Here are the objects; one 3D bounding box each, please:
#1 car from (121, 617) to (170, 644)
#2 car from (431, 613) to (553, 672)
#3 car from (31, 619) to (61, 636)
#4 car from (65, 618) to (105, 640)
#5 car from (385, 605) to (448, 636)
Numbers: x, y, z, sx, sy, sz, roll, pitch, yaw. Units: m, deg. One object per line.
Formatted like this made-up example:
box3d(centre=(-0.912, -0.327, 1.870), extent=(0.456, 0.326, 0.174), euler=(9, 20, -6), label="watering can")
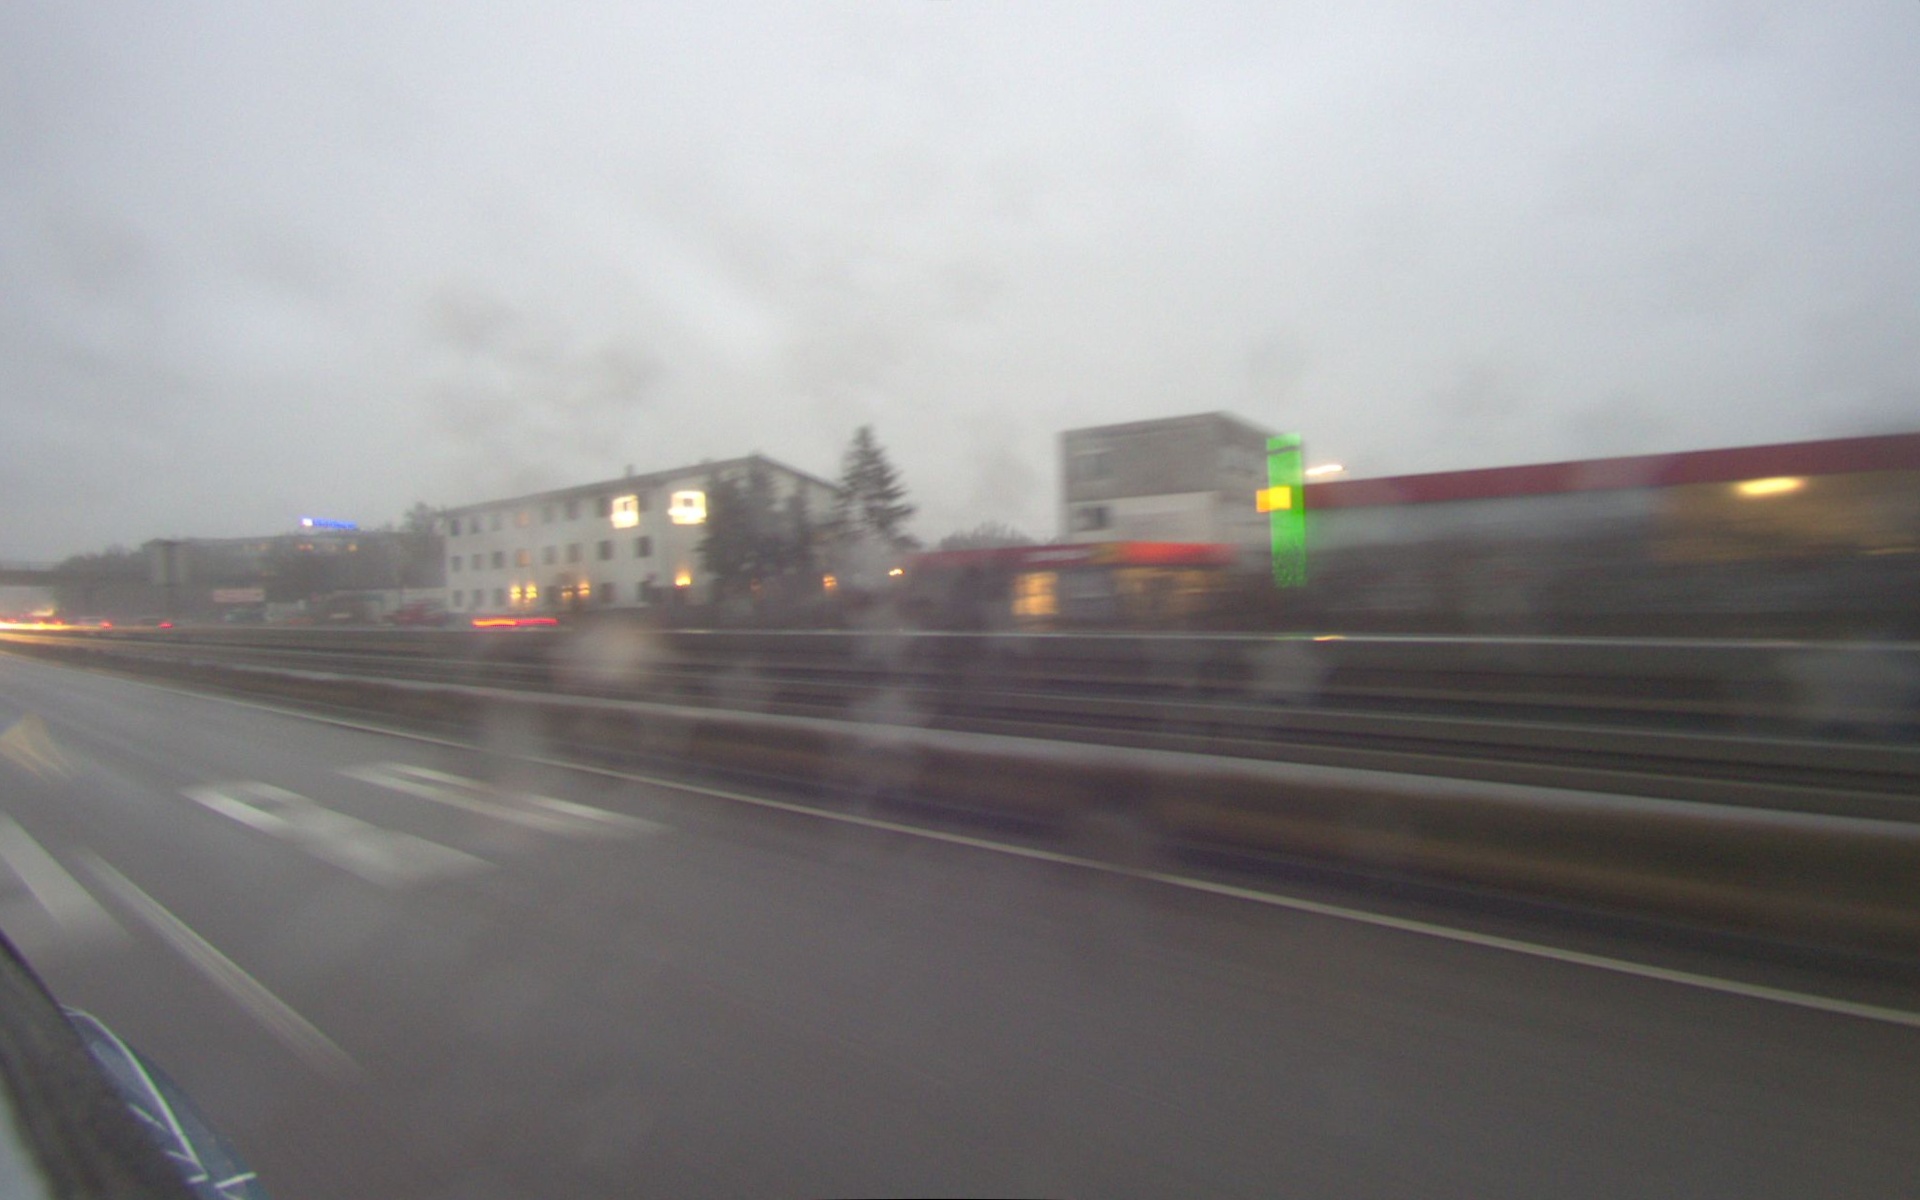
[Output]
box3d(centre=(-49.787, 1.832, 61.830), extent=(3.999, 1.519, 1.718), euler=(-1, 0, 42), label="car")
box3d(centre=(-13.494, 1.170, 29.085), extent=(3.999, 1.519, 1.718), euler=(-1, 0, 42), label="car")
box3d(centre=(-87.432, 2.596, 96.816), extent=(3.999, 1.519, 1.718), euler=(-1, 0, 42), label="car")
box3d(centre=(-63.709, 2.093, 73.674), extent=(3.999, 1.519, 1.718), euler=(-1, 0, 42), label="car")
box3d(centre=(-37.851, 1.408, 70.488), extent=(4.956, 2.029, 2.134), euler=(-1, 0, 40), label="car")
